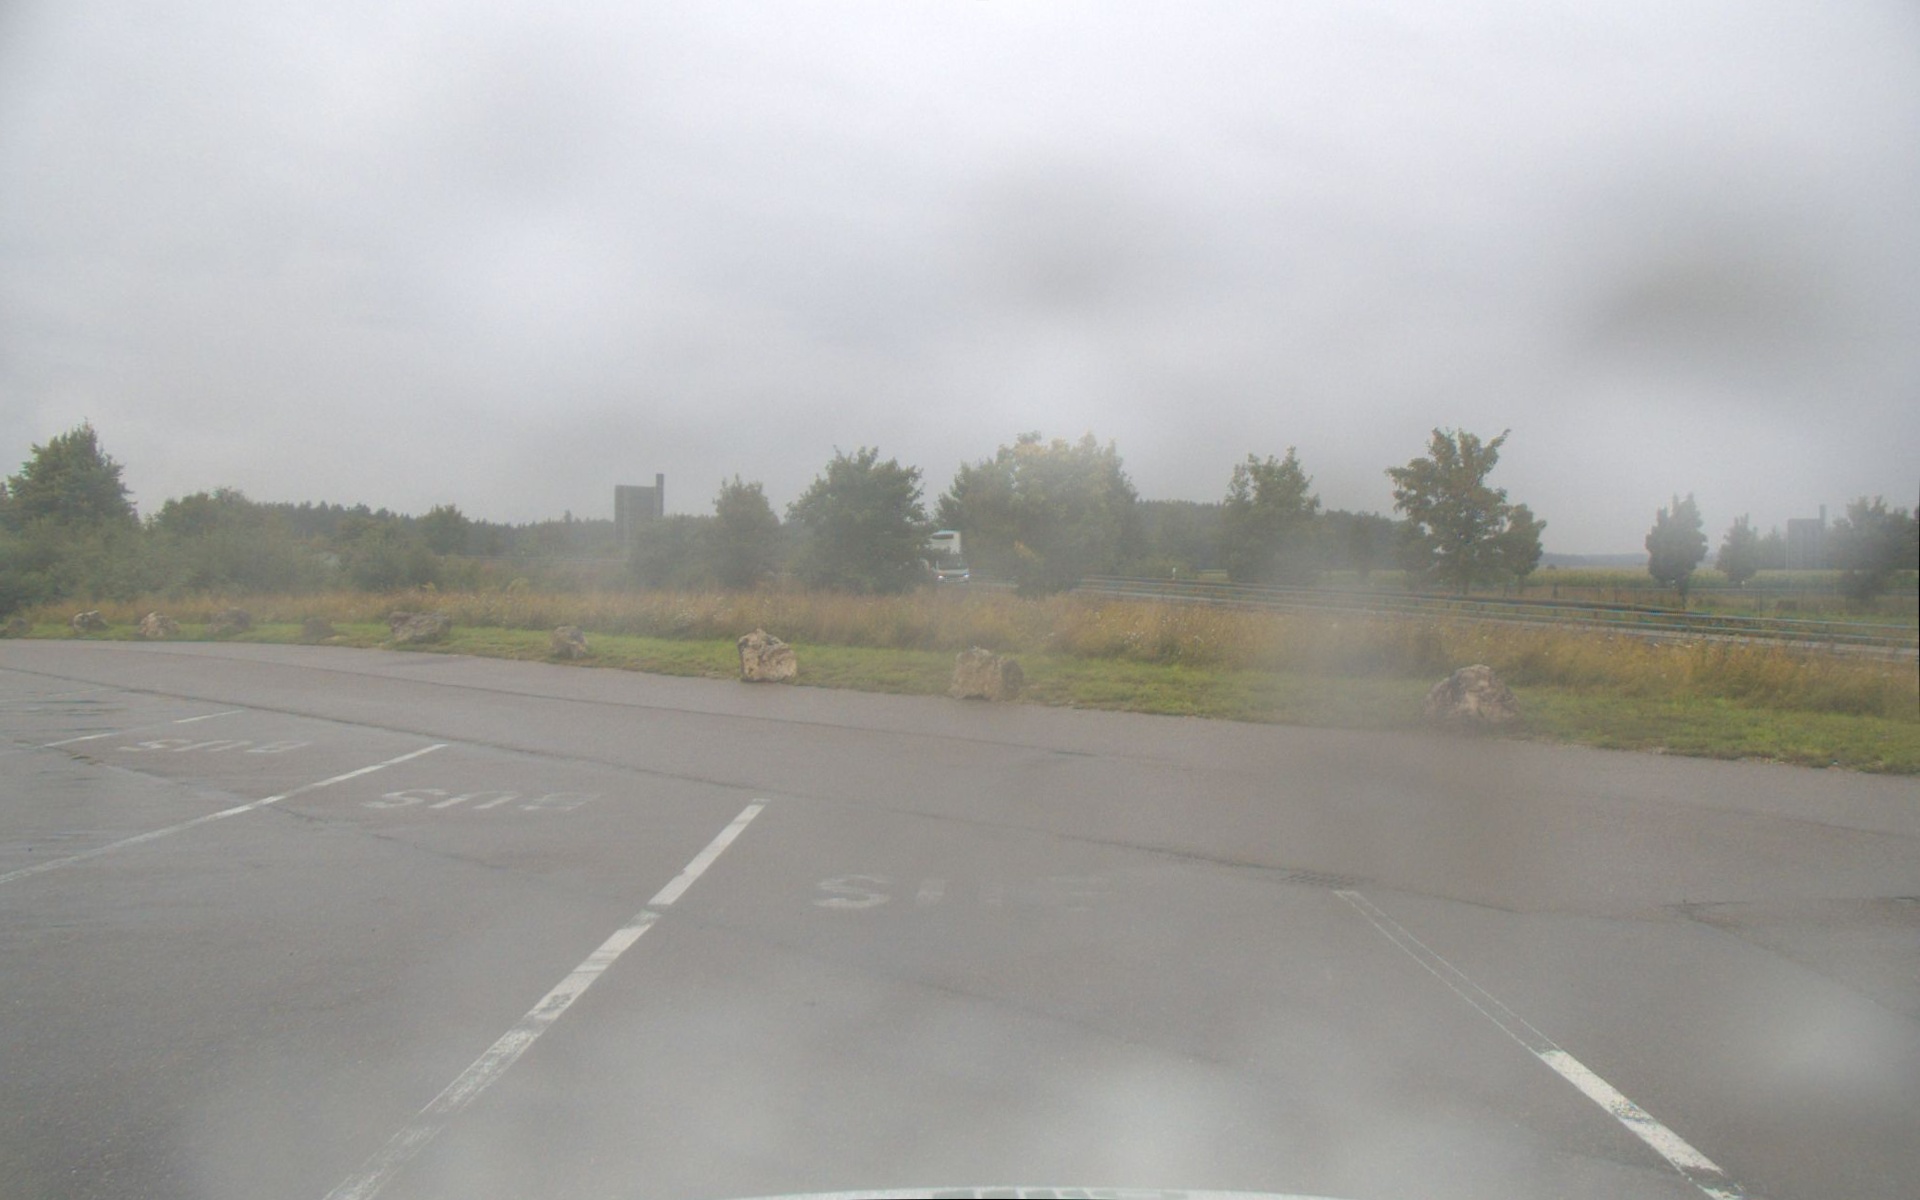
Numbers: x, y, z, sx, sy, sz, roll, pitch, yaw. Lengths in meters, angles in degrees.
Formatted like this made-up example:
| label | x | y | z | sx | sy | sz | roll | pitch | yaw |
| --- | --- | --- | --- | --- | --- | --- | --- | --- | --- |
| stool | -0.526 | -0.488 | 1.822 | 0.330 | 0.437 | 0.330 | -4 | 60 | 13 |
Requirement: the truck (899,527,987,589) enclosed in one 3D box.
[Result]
| label | x | y | z | sx | sy | sz | roll | pitch | yaw |
| --- | --- | --- | --- | --- | --- | --- | --- | --- | --- |
| truck | -1.090 | -2.400 | 95.897 | 2.698 | 3.450 | 8.023 | 1 | 1 | -19 |
